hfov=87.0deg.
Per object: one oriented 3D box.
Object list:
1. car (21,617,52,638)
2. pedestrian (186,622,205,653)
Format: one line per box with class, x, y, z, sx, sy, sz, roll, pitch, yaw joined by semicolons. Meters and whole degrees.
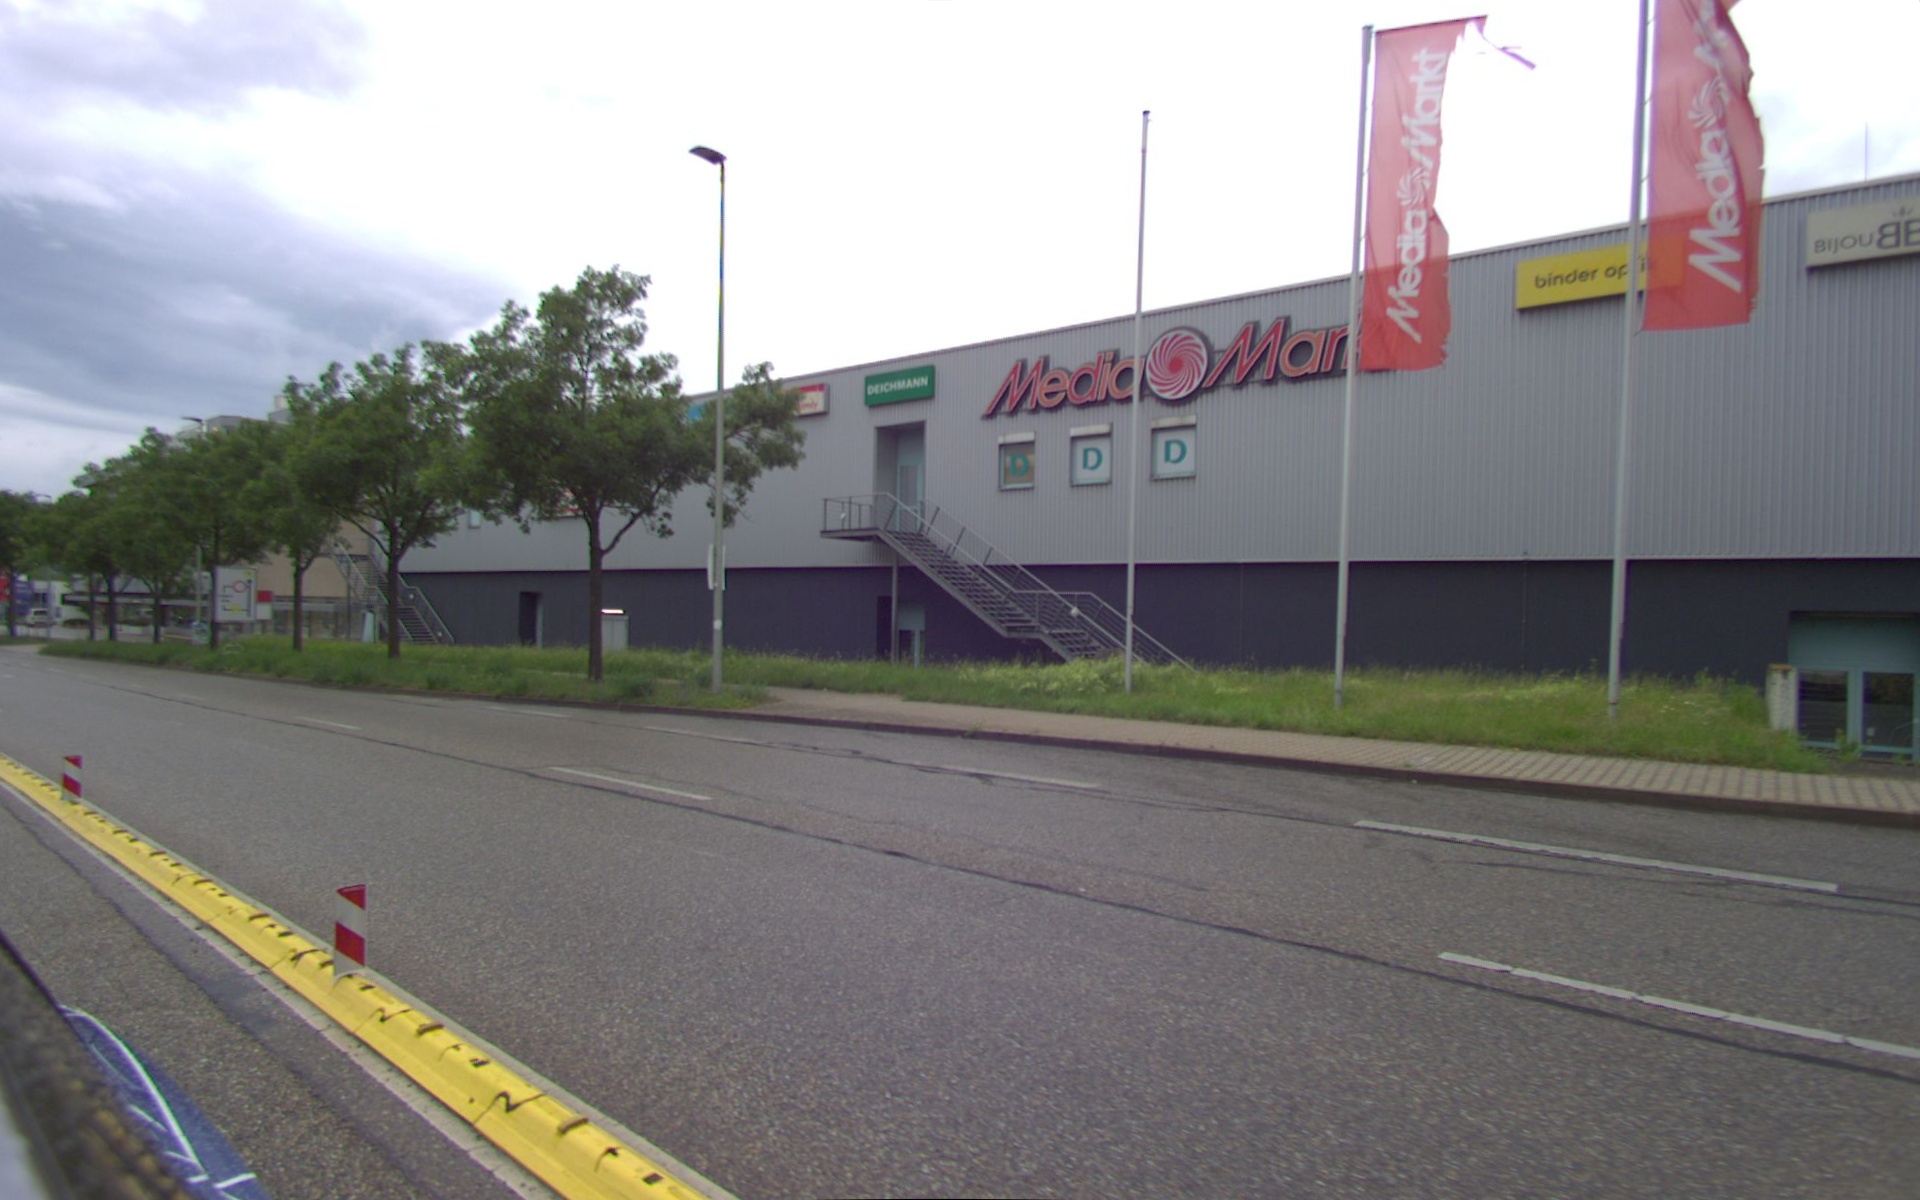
car;-100.554;2.994;110.155;4.885;2.028;1.973;0;4;42
pedestrian;-39.947;1.958;52.876;0.766;1.595;0.578;-1;0;39
